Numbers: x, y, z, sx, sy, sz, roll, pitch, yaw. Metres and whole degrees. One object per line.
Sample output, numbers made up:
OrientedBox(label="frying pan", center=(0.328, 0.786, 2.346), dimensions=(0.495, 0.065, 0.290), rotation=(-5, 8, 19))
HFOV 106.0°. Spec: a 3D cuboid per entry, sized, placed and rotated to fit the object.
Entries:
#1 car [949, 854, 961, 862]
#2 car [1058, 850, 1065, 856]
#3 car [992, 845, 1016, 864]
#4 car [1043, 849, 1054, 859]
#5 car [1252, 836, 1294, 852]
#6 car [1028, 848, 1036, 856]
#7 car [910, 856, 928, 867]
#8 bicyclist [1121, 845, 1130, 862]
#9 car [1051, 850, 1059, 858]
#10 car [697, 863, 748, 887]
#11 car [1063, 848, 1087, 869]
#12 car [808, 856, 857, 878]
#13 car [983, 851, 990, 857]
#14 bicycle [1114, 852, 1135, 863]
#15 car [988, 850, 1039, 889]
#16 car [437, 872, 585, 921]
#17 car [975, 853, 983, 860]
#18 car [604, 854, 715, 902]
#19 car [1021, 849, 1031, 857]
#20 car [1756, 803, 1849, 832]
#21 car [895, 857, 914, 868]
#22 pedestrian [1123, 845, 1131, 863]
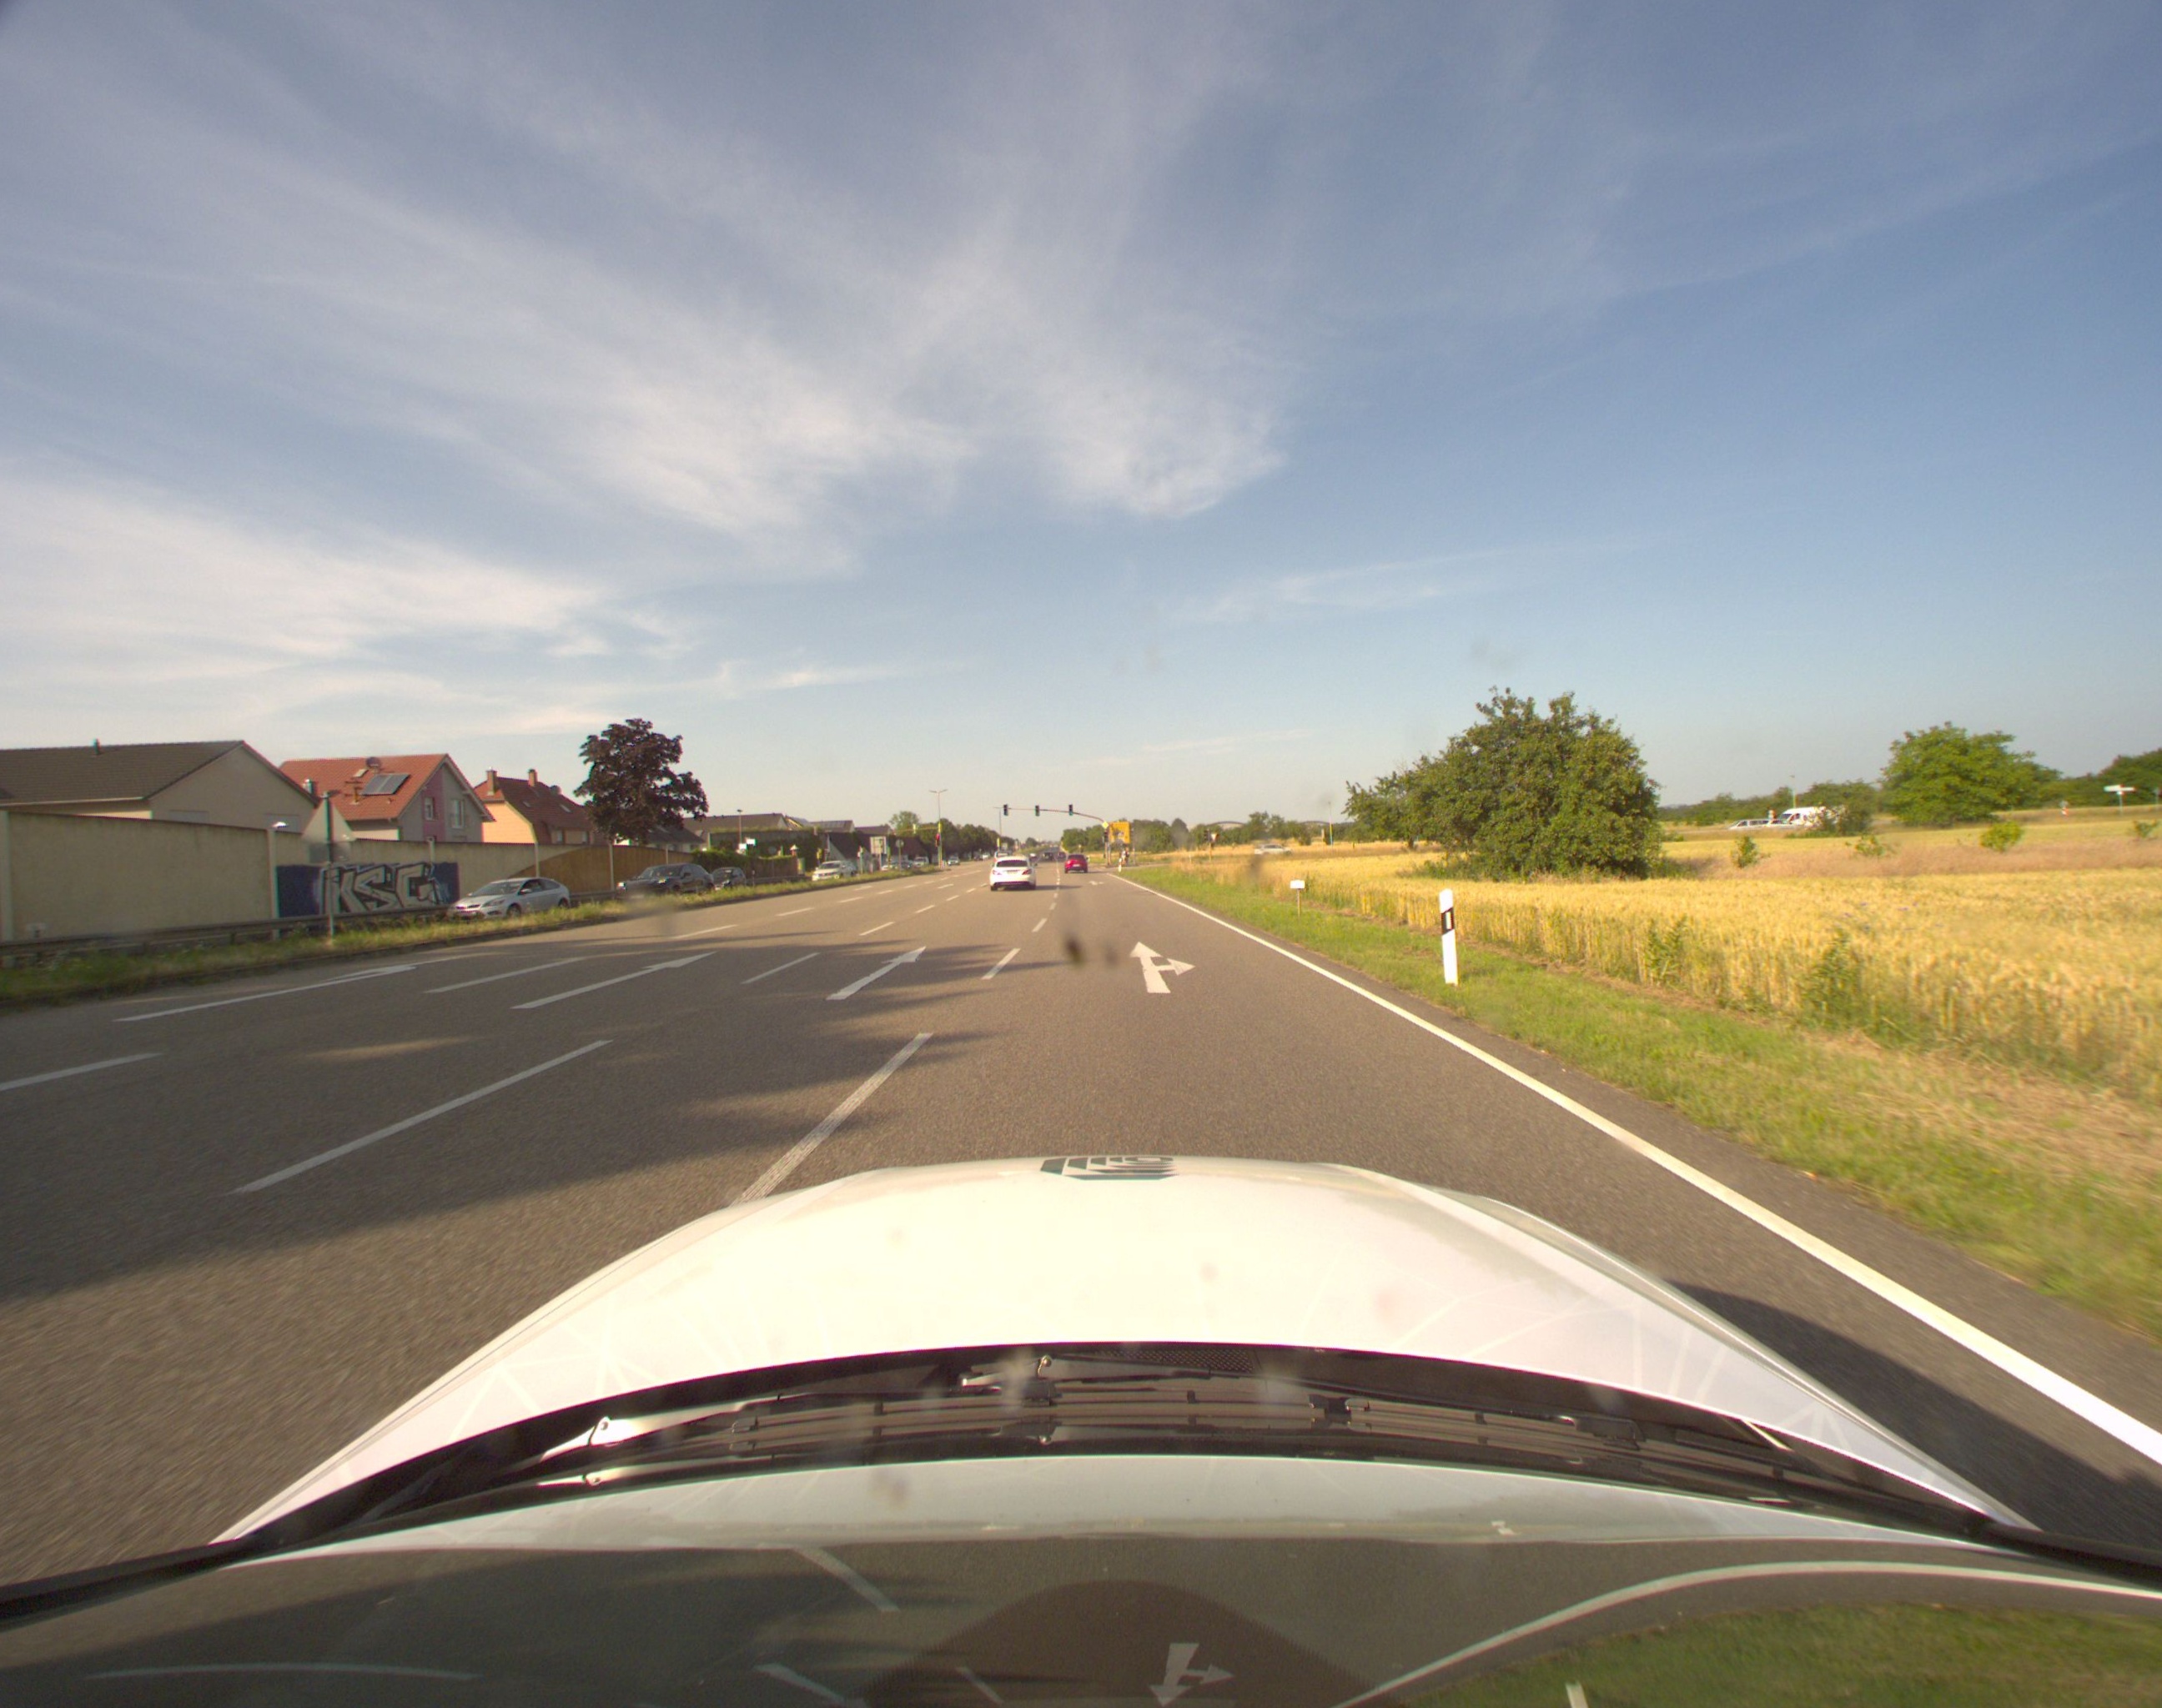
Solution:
OrientedBox(label="car", center=(-22.128, 0.678, 143.450), dimensions=(1.781, 1.437, 4.350), rotation=(-1, 0, -5))
OrientedBox(label="car", center=(-4.325, -0.197, 178.124), dimensions=(1.435, 1.284, 2.913), rotation=(-1, 0, -1))
OrientedBox(label="car", center=(-8.093, 0.029, 85.977), dimensions=(2.019, 1.891, 4.957), rotation=(-1, 1, -1))
OrientedBox(label="car", center=(-5.957, -0.003, 149.516), dimensions=(1.833, 1.684, 4.001), rotation=(-1, 0, 1))
OrientedBox(label="car", center=(20.167, -1.070, 85.572), dimensions=(3.987, 1.598, 1.855), rotation=(-1, 0, -10))
OrientedBox(label="car", center=(-11.317, -0.469, 187.751), dimensions=(1.773, 1.665, 3.657), rotation=(-1, 0, -5))
OrientedBox(label="car", center=(-25.961, 1.199, 130.515), dimensions=(1.992, 1.687, 4.572), rotation=(-1, 0, -2))
OrientedBox(label="bicyclist", center=(4.561, -0.067, 83.729), dimensions=(0.845, 1.755, 0.798), rotation=(-1, 0, -1))
OrientedBox(label="car", center=(-5.434, 0.036, 171.397), dimensions=(1.706, 1.736, 3.864), rotation=(-1, 0, -2))
OrientedBox(label="car", center=(-19.718, 1.142, 44.855), dimensions=(1.469, 1.164, 3.061), rotation=(-1, 0, -1))
OrientedBox(label="car", center=(-0.480, 0.327, 62.671), dimensions=(1.749, 1.516, 3.999), rotation=(-3, 0, -1))
OrientedBox(label="car", center=(-16.105, 0.810, 53.090), dimensions=(1.868, 1.321, 4.710), rotation=(-1, 0, -2))
OrientedBox(label="car", center=(-25.513, -0.122, 219.842), dimensions=(1.730, 1.574, 3.701), rotation=(-1, 0, -2))
OrientedBox(label="bicycle", center=(4.479, 0.342, 83.747), dimensions=(2.088, 1.088, 0.808), rotation=(-1, 0, 1))
OrientedBox(label="car", center=(-2.849, 0.625, 35.087), dimensions=(1.889, 1.508, 3.998), rotation=(-2, 0, -2))
OrientedBox(label="car", center=(-18.985, 1.360, 27.436), dimensions=(1.775, 1.322, 4.603), rotation=(-1, 0, -1))
OrientedBox(label="car", center=(-24.263, 0.551, 193.815), dimensions=(1.730, 1.574, 3.701), rotation=(-1, 0, -2))
OrientedBox(label="car", center=(-15.838, 0.832, 30.929), dimensions=(1.726, 1.625, 4.919), rotation=(-1, 0, -2))
OrientedBox(label="car", center=(-10.349, -0.271, 153.854), dimensions=(1.712, 1.492, 3.583), rotation=(-1, 0, -1))
OrientedBox(label="car", center=(73.975, -3.687, 83.619), dimensions=(6.972, 2.795, 2.326), rotation=(-1, 0, 10))
OrientedBox(label="car", center=(-21.221, 1.042, 98.081), dimensions=(1.680, 1.286, 3.145), rotation=(-1, 0, -2))
OrientedBox(label="pedestrian", center=(4.613, -0.011, 81.896), dimensions=(0.708, 1.751, 0.863), rotation=(-1, 0, 0))
